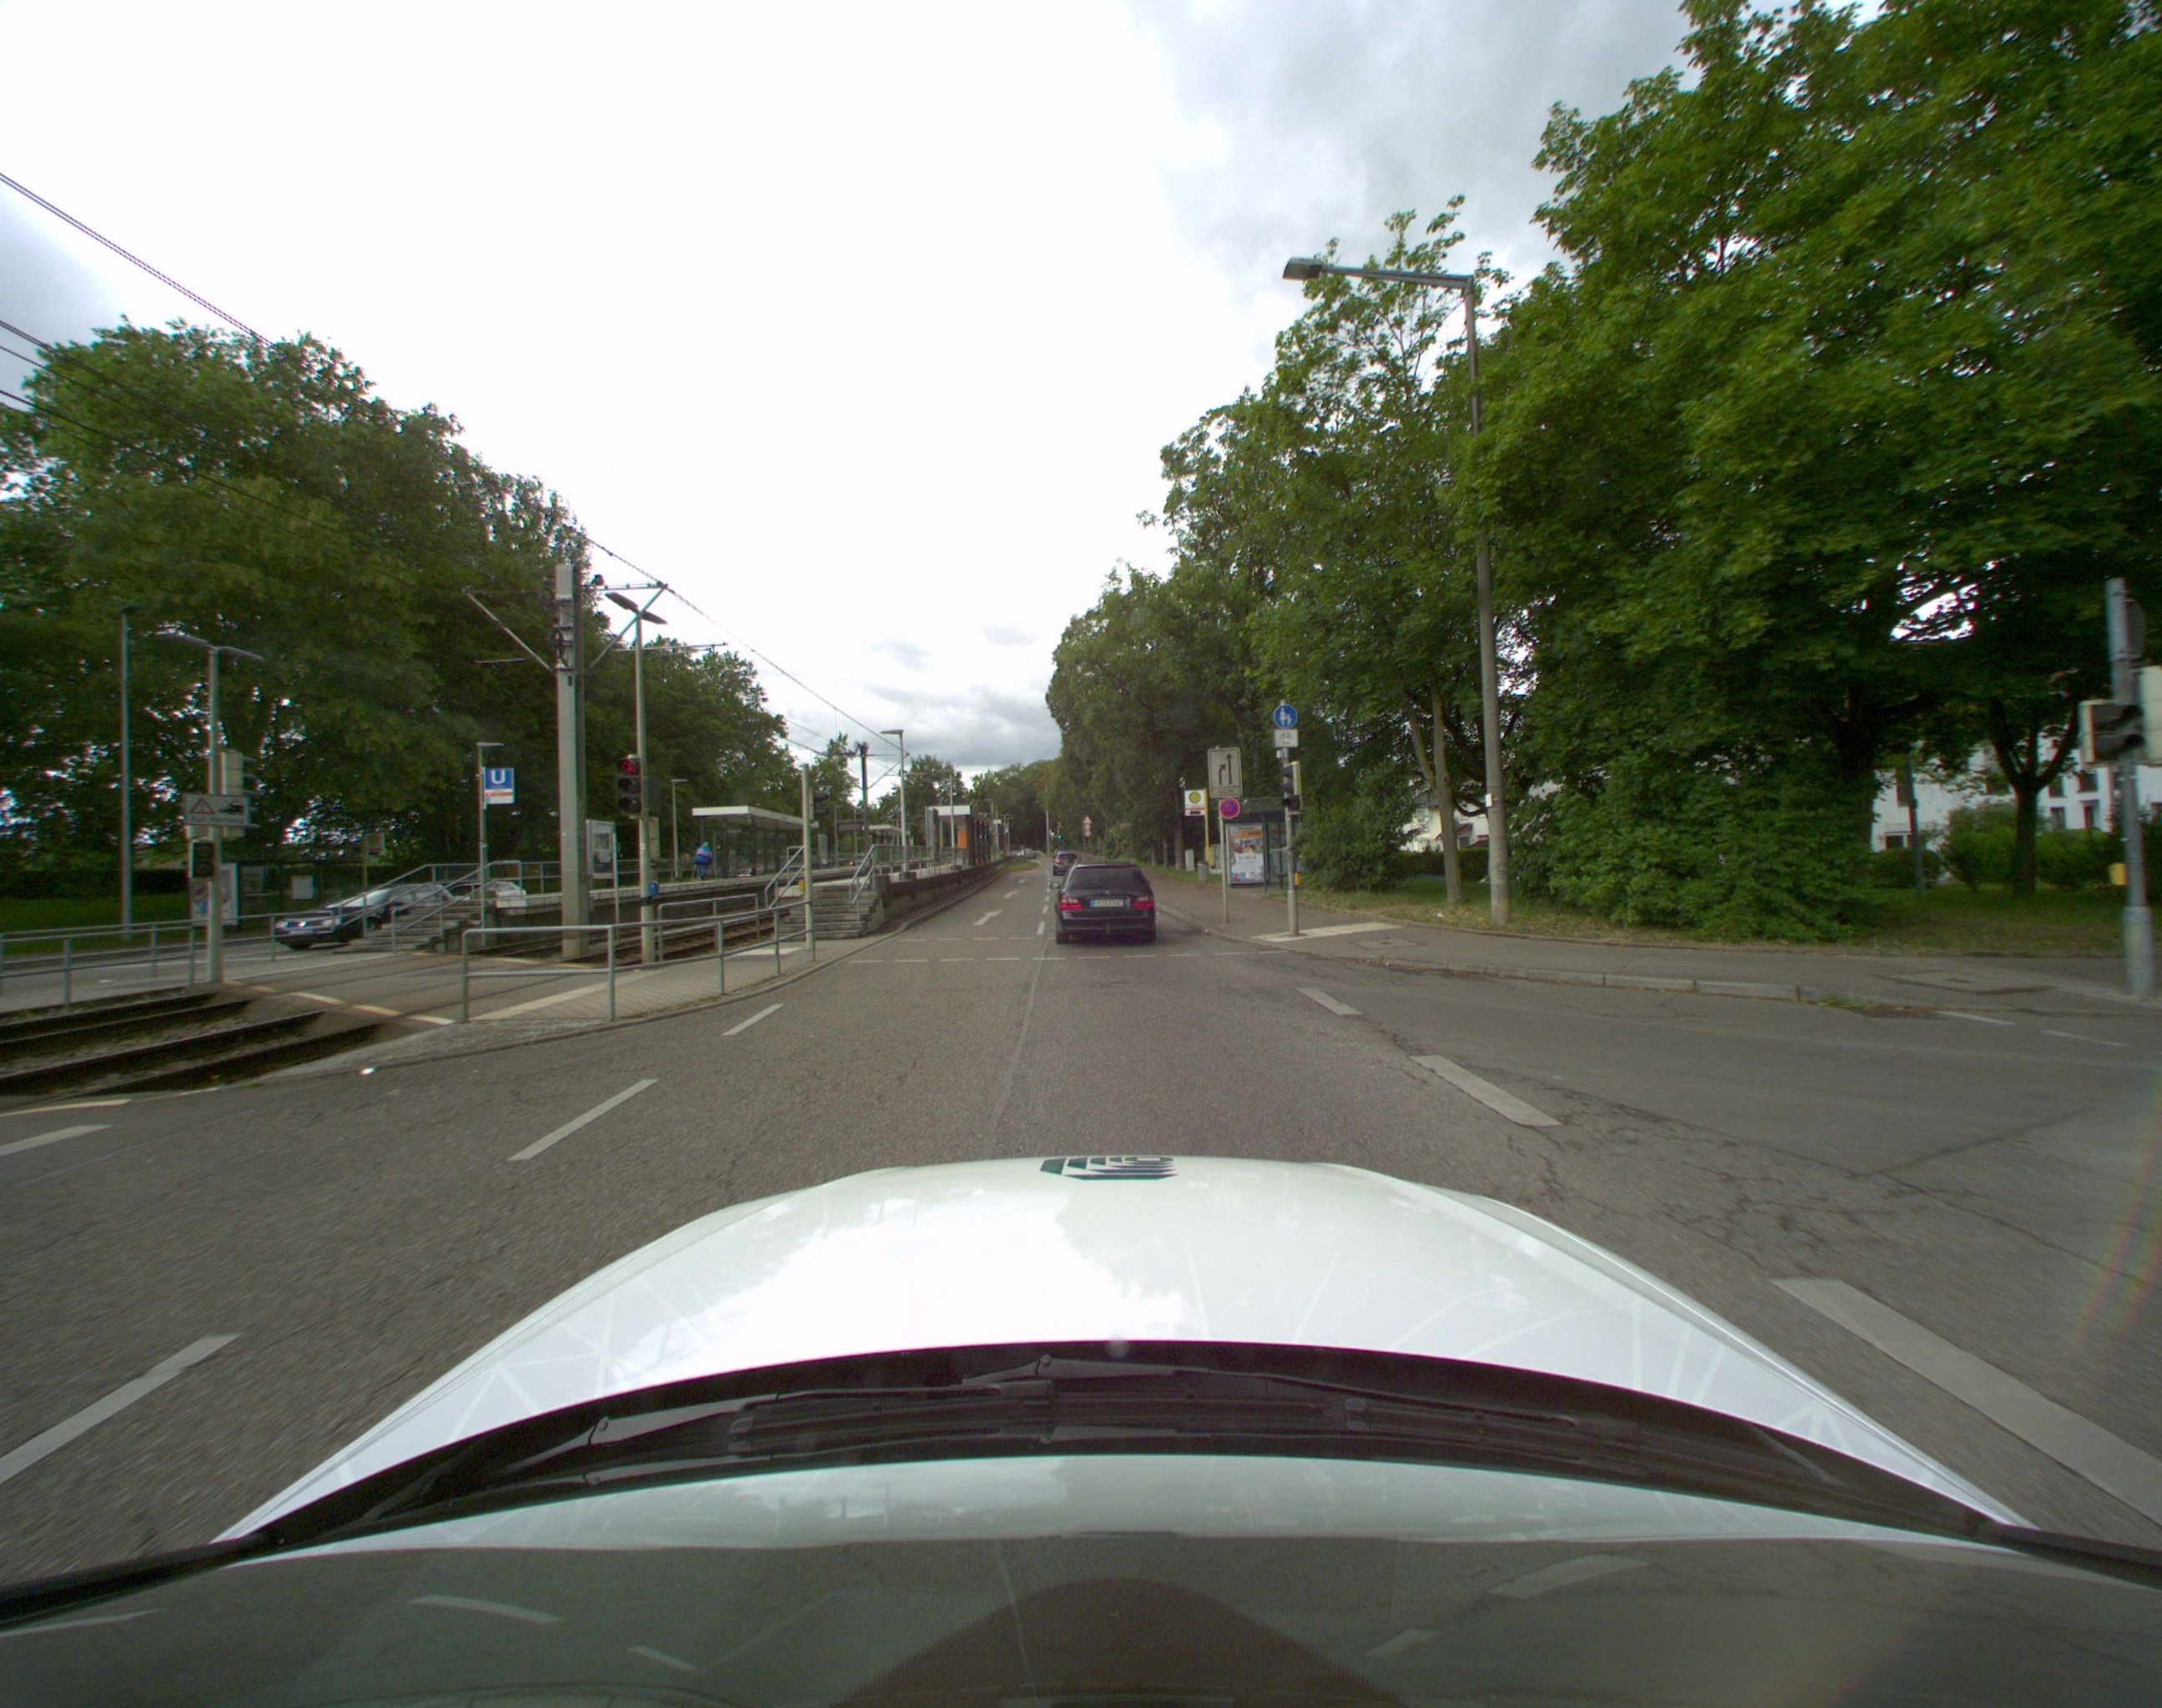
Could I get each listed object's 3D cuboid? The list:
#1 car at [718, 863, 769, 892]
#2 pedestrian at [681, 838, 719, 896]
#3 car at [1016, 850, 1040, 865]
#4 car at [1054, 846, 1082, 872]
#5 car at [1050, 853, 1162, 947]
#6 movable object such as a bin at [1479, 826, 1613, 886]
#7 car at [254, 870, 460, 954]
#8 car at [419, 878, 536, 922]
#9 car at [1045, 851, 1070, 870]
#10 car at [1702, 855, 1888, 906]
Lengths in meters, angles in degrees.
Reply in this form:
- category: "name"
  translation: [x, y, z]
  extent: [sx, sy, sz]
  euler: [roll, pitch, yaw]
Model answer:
- category: "car"
  translation: [-22.749, 1.567, 55.060]
  extent: [1.706, 1.751, 4.395]
  euler: [-3, -1, -2]
- category: "pedestrian"
  translation: [-14.871, 0.510, 31.838]
  extent: [0.967, 2.186, 0.975]
  euler: [-2, 0, -2]
- category: "car"
  translation: [-6.696, 0.451, 102.659]
  extent: [2.001, 1.893, 3.972]
  euler: [0, -1, -21]
- category: "car"
  translation: [-0.853, 0.359, 53.970]
  extent: [1.776, 1.648, 3.998]
  euler: [0, -1, -1]
- category: "car"
  translation: [0.349, 0.774, 15.577]
  extent: [1.778, 1.525, 3.995]
  euler: [-1, 0, -3]
- category: "movable object such as a bin"
  translation: [21.887, 0.126, 38.777]
  extent: [1.994, 2.623, 6.249]
  euler: [0, -1, -10]
- category: "car"
  translation: [-17.838, 1.336, 20.357]
  extent: [1.693, 1.860, 3.995]
  euler: [0, -1, -3]
- category: "car"
  translation: [-23.634, 1.744, 32.067]
  extent: [1.682, 1.446, 3.995]
  euler: [-4, -1, -3]
- category: "car"
  translation: [-2.395, 0.688, 82.384]
  extent: [1.993, 1.918, 3.987]
  euler: [0, -1, -9]
- category: "car"
  translation: [22.379, 0.791, 25.779]
  extent: [1.661, 1.461, 4.270]
  euler: [0, -1, -13]
